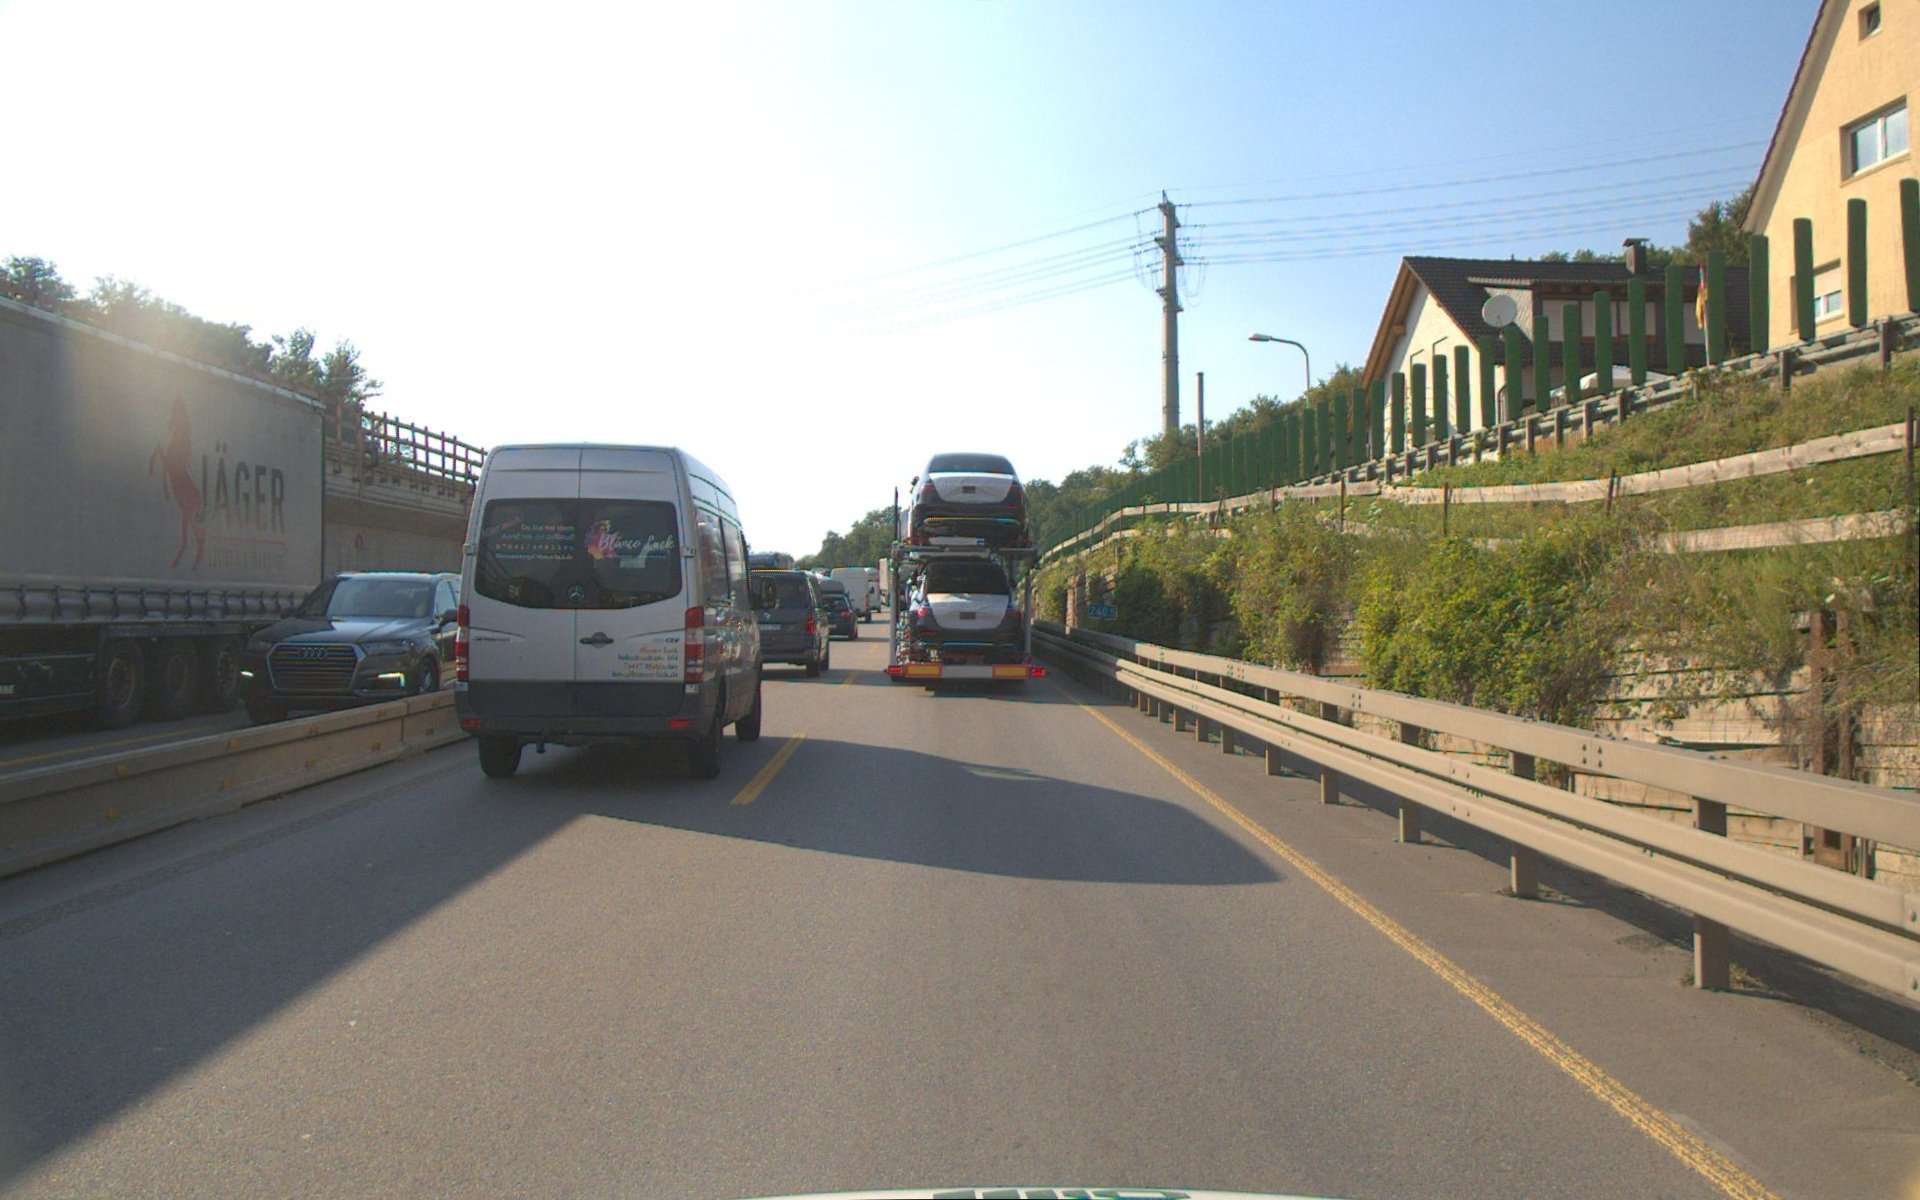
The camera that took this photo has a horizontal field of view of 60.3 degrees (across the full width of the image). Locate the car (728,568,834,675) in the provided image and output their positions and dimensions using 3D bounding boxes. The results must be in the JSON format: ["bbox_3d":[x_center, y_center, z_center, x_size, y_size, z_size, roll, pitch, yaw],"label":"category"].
[{"bbox_3d":[-3.442,0.436,32.339,1.772,1.937,3.998,1,-1,-3],"label":"car"}]

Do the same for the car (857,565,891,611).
[{"bbox_3d":[-9.974,-1.369,190.705,3.378,5.123,9.641,1,0,-6],"label":"car"}]

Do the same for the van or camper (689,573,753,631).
[{"bbox_3d":[-11.719,0.078,81.547,2.265,2.709,6.453,-2,0,-1],"label":"van or camper"}]

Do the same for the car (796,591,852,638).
[{"bbox_3d":[-4.616,0.467,56.596,1.691,1.549,3.971,1,0,-2],"label":"car"}]

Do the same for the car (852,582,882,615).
[{"bbox_3d":[-6.159,-0.104,110.200,1.847,2.136,3.764,1,0,-2],"label":"car"}]

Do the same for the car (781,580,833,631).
[{"bbox_3d":[-7.884,0.300,85.601,2.421,2.578,3.999,0,0,-2],"label":"car"}]

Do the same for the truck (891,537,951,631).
[{"bbox_3d":[-2.125,-0.802,86.833,2.850,4.687,7.280,0,0,-4],"label":"truck"}]

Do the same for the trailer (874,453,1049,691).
[{"bbox_3d":[-0.070,-0.351,32.903,2.628,3.597,15.285,1,-1,-1],"label":"trailer"}]

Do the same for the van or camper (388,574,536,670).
[{"bbox_3d":[-10.981,0.460,36.819,1.878,1.956,4.921,1,0,-1],"label":"van or camper"}]

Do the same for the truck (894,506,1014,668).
[{"bbox_3d":[-0.177,-0.254,40.469,2.628,3.597,7.192,1,-1,-1],"label":"truck"}]

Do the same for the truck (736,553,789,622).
[{"bbox_3d":[-12.855,-0.798,108.131,2.572,4.184,9.622,-3,0,-3],"label":"truck"}]

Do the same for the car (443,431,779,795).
[{"bbox_3d":[-2.901,0.078,15.078,1.953,2.694,5.529,0,0,-1],"label":"car"}]

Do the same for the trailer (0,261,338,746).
[{"bbox_3d":[-10.033,-0.856,16.310,2.854,4.314,13.763,1,-1,-2],"label":"trailer"}]

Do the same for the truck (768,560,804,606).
[{"bbox_3d":[-16.798,-1.555,160.426,2.924,4.226,15.840,1,0,-4],"label":"truck"}]

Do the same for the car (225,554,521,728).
[{"bbox_3d":[-6.851,0.466,19.960,1.785,1.803,5.138,1,-1,-1],"label":"car"}]

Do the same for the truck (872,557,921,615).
[{"bbox_3d":[-5.461,-1.175,143.495,3.982,4.761,10.589,0,0,-1],"label":"truck"}]

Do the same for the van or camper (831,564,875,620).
[{"bbox_3d":[-5.234,-0.345,81.453,1.928,2.637,5.040,1,-1,-1],"label":"van or camper"}]

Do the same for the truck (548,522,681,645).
[{"bbox_3d":[-10.857,-0.442,52.731,2.660,3.484,8.137,-2,-1,-2],"label":"truck"}]
